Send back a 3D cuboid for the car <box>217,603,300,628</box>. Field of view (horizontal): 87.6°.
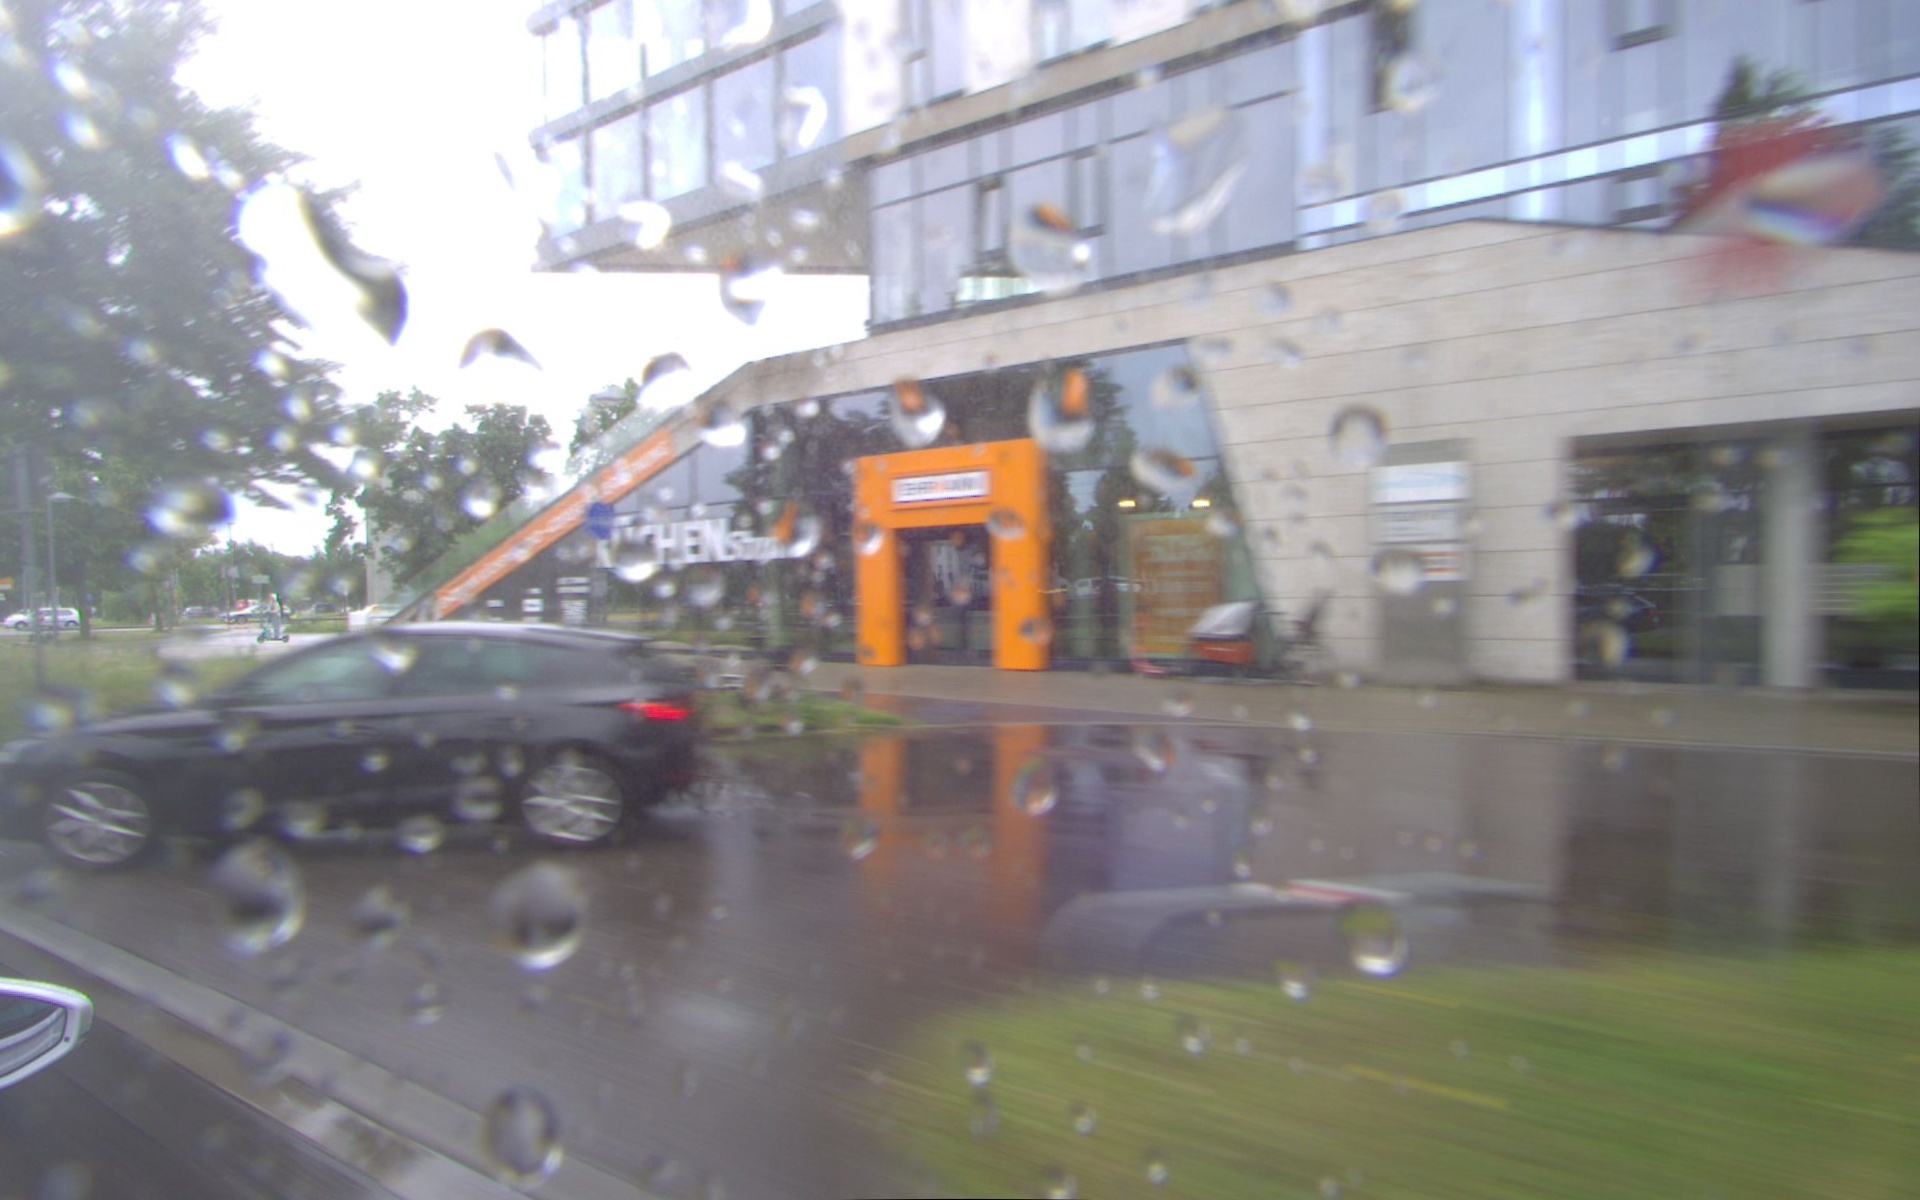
[{"bbox_3d":[-53.455,1.157,76.398,1.970,1.876,4.754,0,0,30],"label":"car"}]

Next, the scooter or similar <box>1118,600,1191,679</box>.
[{"bbox_3d":[3.161,0.625,16.358,0.339,1.244,1.231,1,0,-37],"label":"scooter or similar"}]

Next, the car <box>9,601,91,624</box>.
[{"bbox_3d":[-60.632,0.834,66.789,1.606,1.473,3.951,0,0,44],"label":"car"}]

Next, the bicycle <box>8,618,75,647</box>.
[{"bbox_3d":[-25.857,0.911,28.195,1.973,0.797,0.454,-1,-2,17],"label":"bicycle"}]

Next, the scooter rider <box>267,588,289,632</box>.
[{"bbox_3d":[-27.145,0.406,39.871,0.427,1.732,0.530,0,2,28],"label":"scooter rider"}]

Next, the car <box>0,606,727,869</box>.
[{"bbox_3d":[-3.842,0.788,6.776,4.263,1.438,1.832,-1,0,-9],"label":"car"}]

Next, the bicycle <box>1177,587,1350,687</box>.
[{"bbox_3d":[4.551,0.535,15.136,2.391,1.420,0.731,0,-1,34],"label":"bicycle"}]

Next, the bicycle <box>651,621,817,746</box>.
[{"bbox_3d":[-2.621,0.933,11.718,1.823,1.364,0.529,1,1,-32],"label":"bicycle"}]

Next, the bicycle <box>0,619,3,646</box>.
[{"bbox_3d":[-28.566,0.933,28.721,1.823,0.797,0.380,0,-1,0],"label":"bicycle"}]

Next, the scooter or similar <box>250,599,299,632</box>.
[{"bbox_3d":[-27.236,0.644,39.794,0.440,1.275,1.585,-1,-2,27],"label":"scooter or similar"}]
